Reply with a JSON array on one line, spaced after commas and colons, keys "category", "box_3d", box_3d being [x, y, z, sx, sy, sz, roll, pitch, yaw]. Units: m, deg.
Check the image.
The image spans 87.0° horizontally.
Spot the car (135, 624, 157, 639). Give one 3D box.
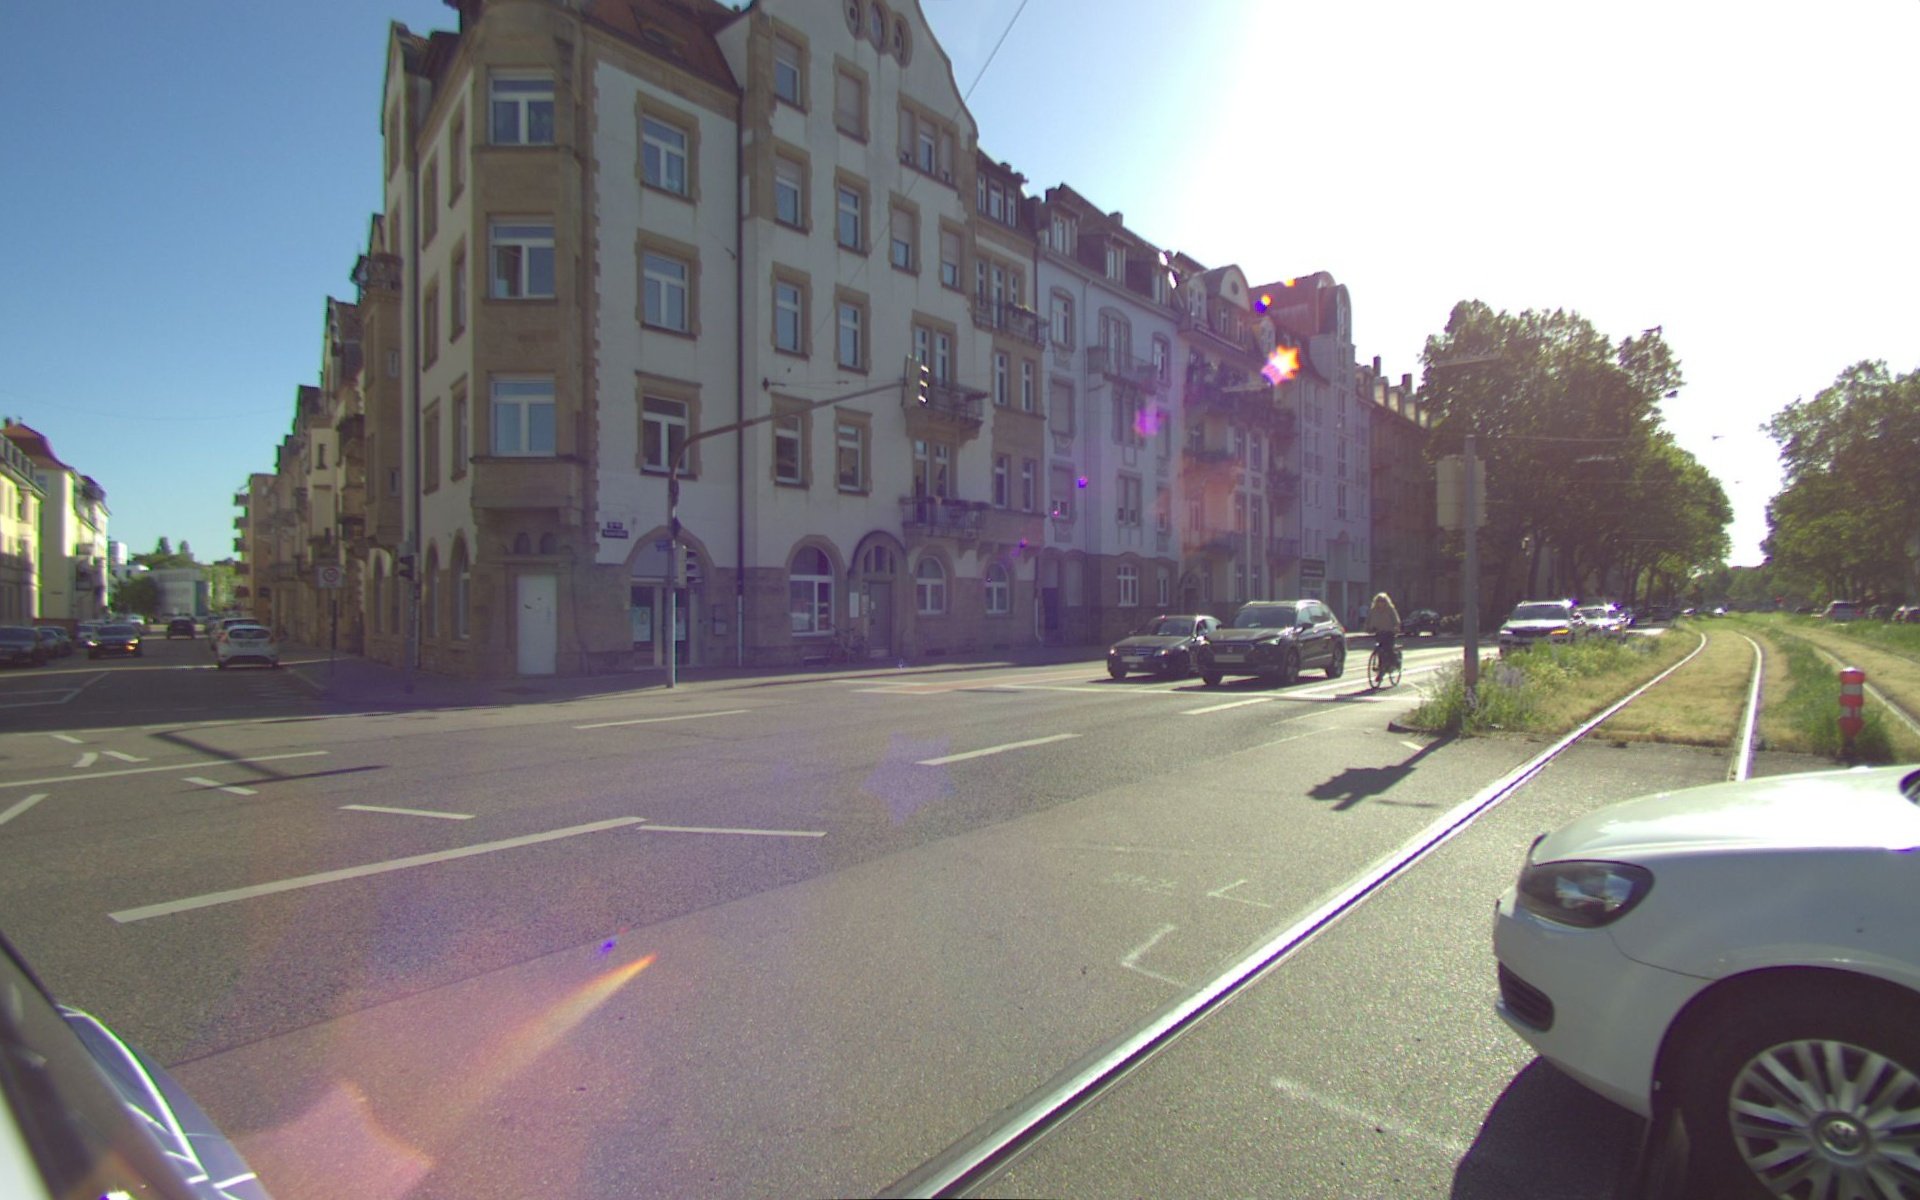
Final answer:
[{"category": "car", "box_3d": [-100.266, 3.914, 124.616, 1.848, 1.679, 4.009, -2, 1, -36]}]

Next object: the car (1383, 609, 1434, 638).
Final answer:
[{"category": "car", "box_3d": [25.221, 1.308, 56.899, 1.642, 1.600, 3.356, -3, -2, 41]}]

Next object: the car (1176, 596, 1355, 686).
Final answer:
[{"category": "car", "box_3d": [6.374, 0.790, 20.851, 1.999, 1.657, 4.183, -3, -2, 40]}]

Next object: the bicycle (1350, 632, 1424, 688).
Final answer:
[{"category": "bicycle", "box_3d": [7.834, 1.071, 18.539, 0.794, 0.932, 1.615, -2, -1, 40]}]

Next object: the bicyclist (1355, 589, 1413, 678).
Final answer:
[{"category": "bicyclist", "box_3d": [7.709, 0.593, 18.379, 0.687, 1.554, 1.060, -1, -1, 40]}]

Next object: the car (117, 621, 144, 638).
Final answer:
[{"category": "car", "box_3d": [-86.437, 3.078, 105.467, 1.848, 1.679, 4.009, -2, 1, -36]}]

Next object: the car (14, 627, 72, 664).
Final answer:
[{"category": "car", "box_3d": [-45.038, 2.210, 49.790, 1.805, 1.608, 3.827, -3, 0, -38]}]

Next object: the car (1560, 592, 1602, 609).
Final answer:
[{"category": "car", "box_3d": [70.505, 0.084, 115.017, 3.787, 1.718, 1.831, -2, 1, 25]}]

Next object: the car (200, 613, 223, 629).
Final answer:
[{"category": "car", "box_3d": [-82.369, 2.294, 111.354, 1.888, 1.636, 4.355, -4, 2, -38]}]

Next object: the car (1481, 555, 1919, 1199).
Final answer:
[{"category": "car", "box_3d": [3.381, 0.663, 1.875, 3.998, 1.469, 1.787, 1, 0, 41]}]

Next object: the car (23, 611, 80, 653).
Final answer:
[{"category": "car", "box_3d": [-47.822, 1.658, 53.328, 1.805, 2.050, 3.828, -3, 0, -37]}]

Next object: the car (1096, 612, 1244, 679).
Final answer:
[{"category": "car", "box_3d": [4.977, 1.008, 23.666, 1.765, 1.400, 3.844, -2, -1, 40]}]

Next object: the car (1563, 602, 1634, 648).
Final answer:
[{"category": "car", "box_3d": [23.460, 0.910, 37.131, 1.764, 1.541, 3.846, -4, -3, 38]}]

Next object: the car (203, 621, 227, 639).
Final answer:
[{"category": "car", "box_3d": [-78.794, 3.169, 106.981, 1.888, 1.636, 4.355, -4, 2, -38]}]

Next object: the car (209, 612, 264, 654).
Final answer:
[{"category": "car", "box_3d": [-33.023, 1.468, 46.212, 1.888, 1.671, 4.357, -4, 2, -36]}]

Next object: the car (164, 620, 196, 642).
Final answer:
[{"category": "car", "box_3d": [-63.977, 2.560, 83.053, 1.887, 1.741, 4.357, 1, -2, -35]}]

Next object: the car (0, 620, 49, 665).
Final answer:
[{"category": "car", "box_3d": [-35.341, 1.599, 37.426, 1.967, 1.549, 4.009, -3, 0, -36]}]

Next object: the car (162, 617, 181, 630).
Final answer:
[{"category": "car", "box_3d": [-107.153, 3.229, 137.513, 1.848, 1.679, 4.009, -2, 1, -36]}]

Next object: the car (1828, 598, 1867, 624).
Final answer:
[{"category": "car", "box_3d": [65.226, 0.783, 74.450, 1.984, 1.850, 4.061, -1, -1, 39]}]

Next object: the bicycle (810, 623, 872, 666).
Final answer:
[{"category": "bicycle", "box_3d": [-3.289, 1.213, 28.053, 0.610, 1.142, 1.787, -1, -1, 39]}]

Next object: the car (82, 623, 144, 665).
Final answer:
[{"category": "car", "box_3d": [-38.131, 1.949, 45.638, 1.848, 1.679, 4.009, -2, 1, -36]}]

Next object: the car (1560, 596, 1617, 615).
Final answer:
[{"category": "car", "box_3d": [63.952, 0.574, 102.998, 4.530, 1.718, 1.845, -2, 1, 2]}]

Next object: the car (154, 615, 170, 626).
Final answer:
[{"category": "car", "box_3d": [-129.275, 3.357, 163.926, 1.848, 1.679, 4.009, -2, 1, -36]}]

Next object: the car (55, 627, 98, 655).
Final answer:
[{"category": "car", "box_3d": [-55.410, 2.553, 63.505, 1.805, 1.608, 3.827, -3, 0, -38]}]

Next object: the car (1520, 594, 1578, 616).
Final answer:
[{"category": "car", "box_3d": [50.115, 0.423, 86.183, 3.755, 1.718, 1.846, -2, 1, 0]}]

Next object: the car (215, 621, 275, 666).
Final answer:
[{"category": "car", "box_3d": [-24.211, 1.466, 34.292, 1.532, 1.422, 3.580, 2, -3, -35]}]

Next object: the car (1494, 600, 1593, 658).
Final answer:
[{"category": "car", "box_3d": [16.714, 0.795, 28.907, 1.765, 1.541, 3.965, -1, -1, 40]}]

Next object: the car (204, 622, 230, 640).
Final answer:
[{"category": "car", "box_3d": [-75.694, 3.095, 103.104, 1.888, 1.636, 4.355, -4, 2, -38]}]

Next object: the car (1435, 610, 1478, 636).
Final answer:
[{"category": "car", "box_3d": [32.215, 1.476, 65.686, 1.642, 1.600, 3.356, -3, -2, 41]}]
